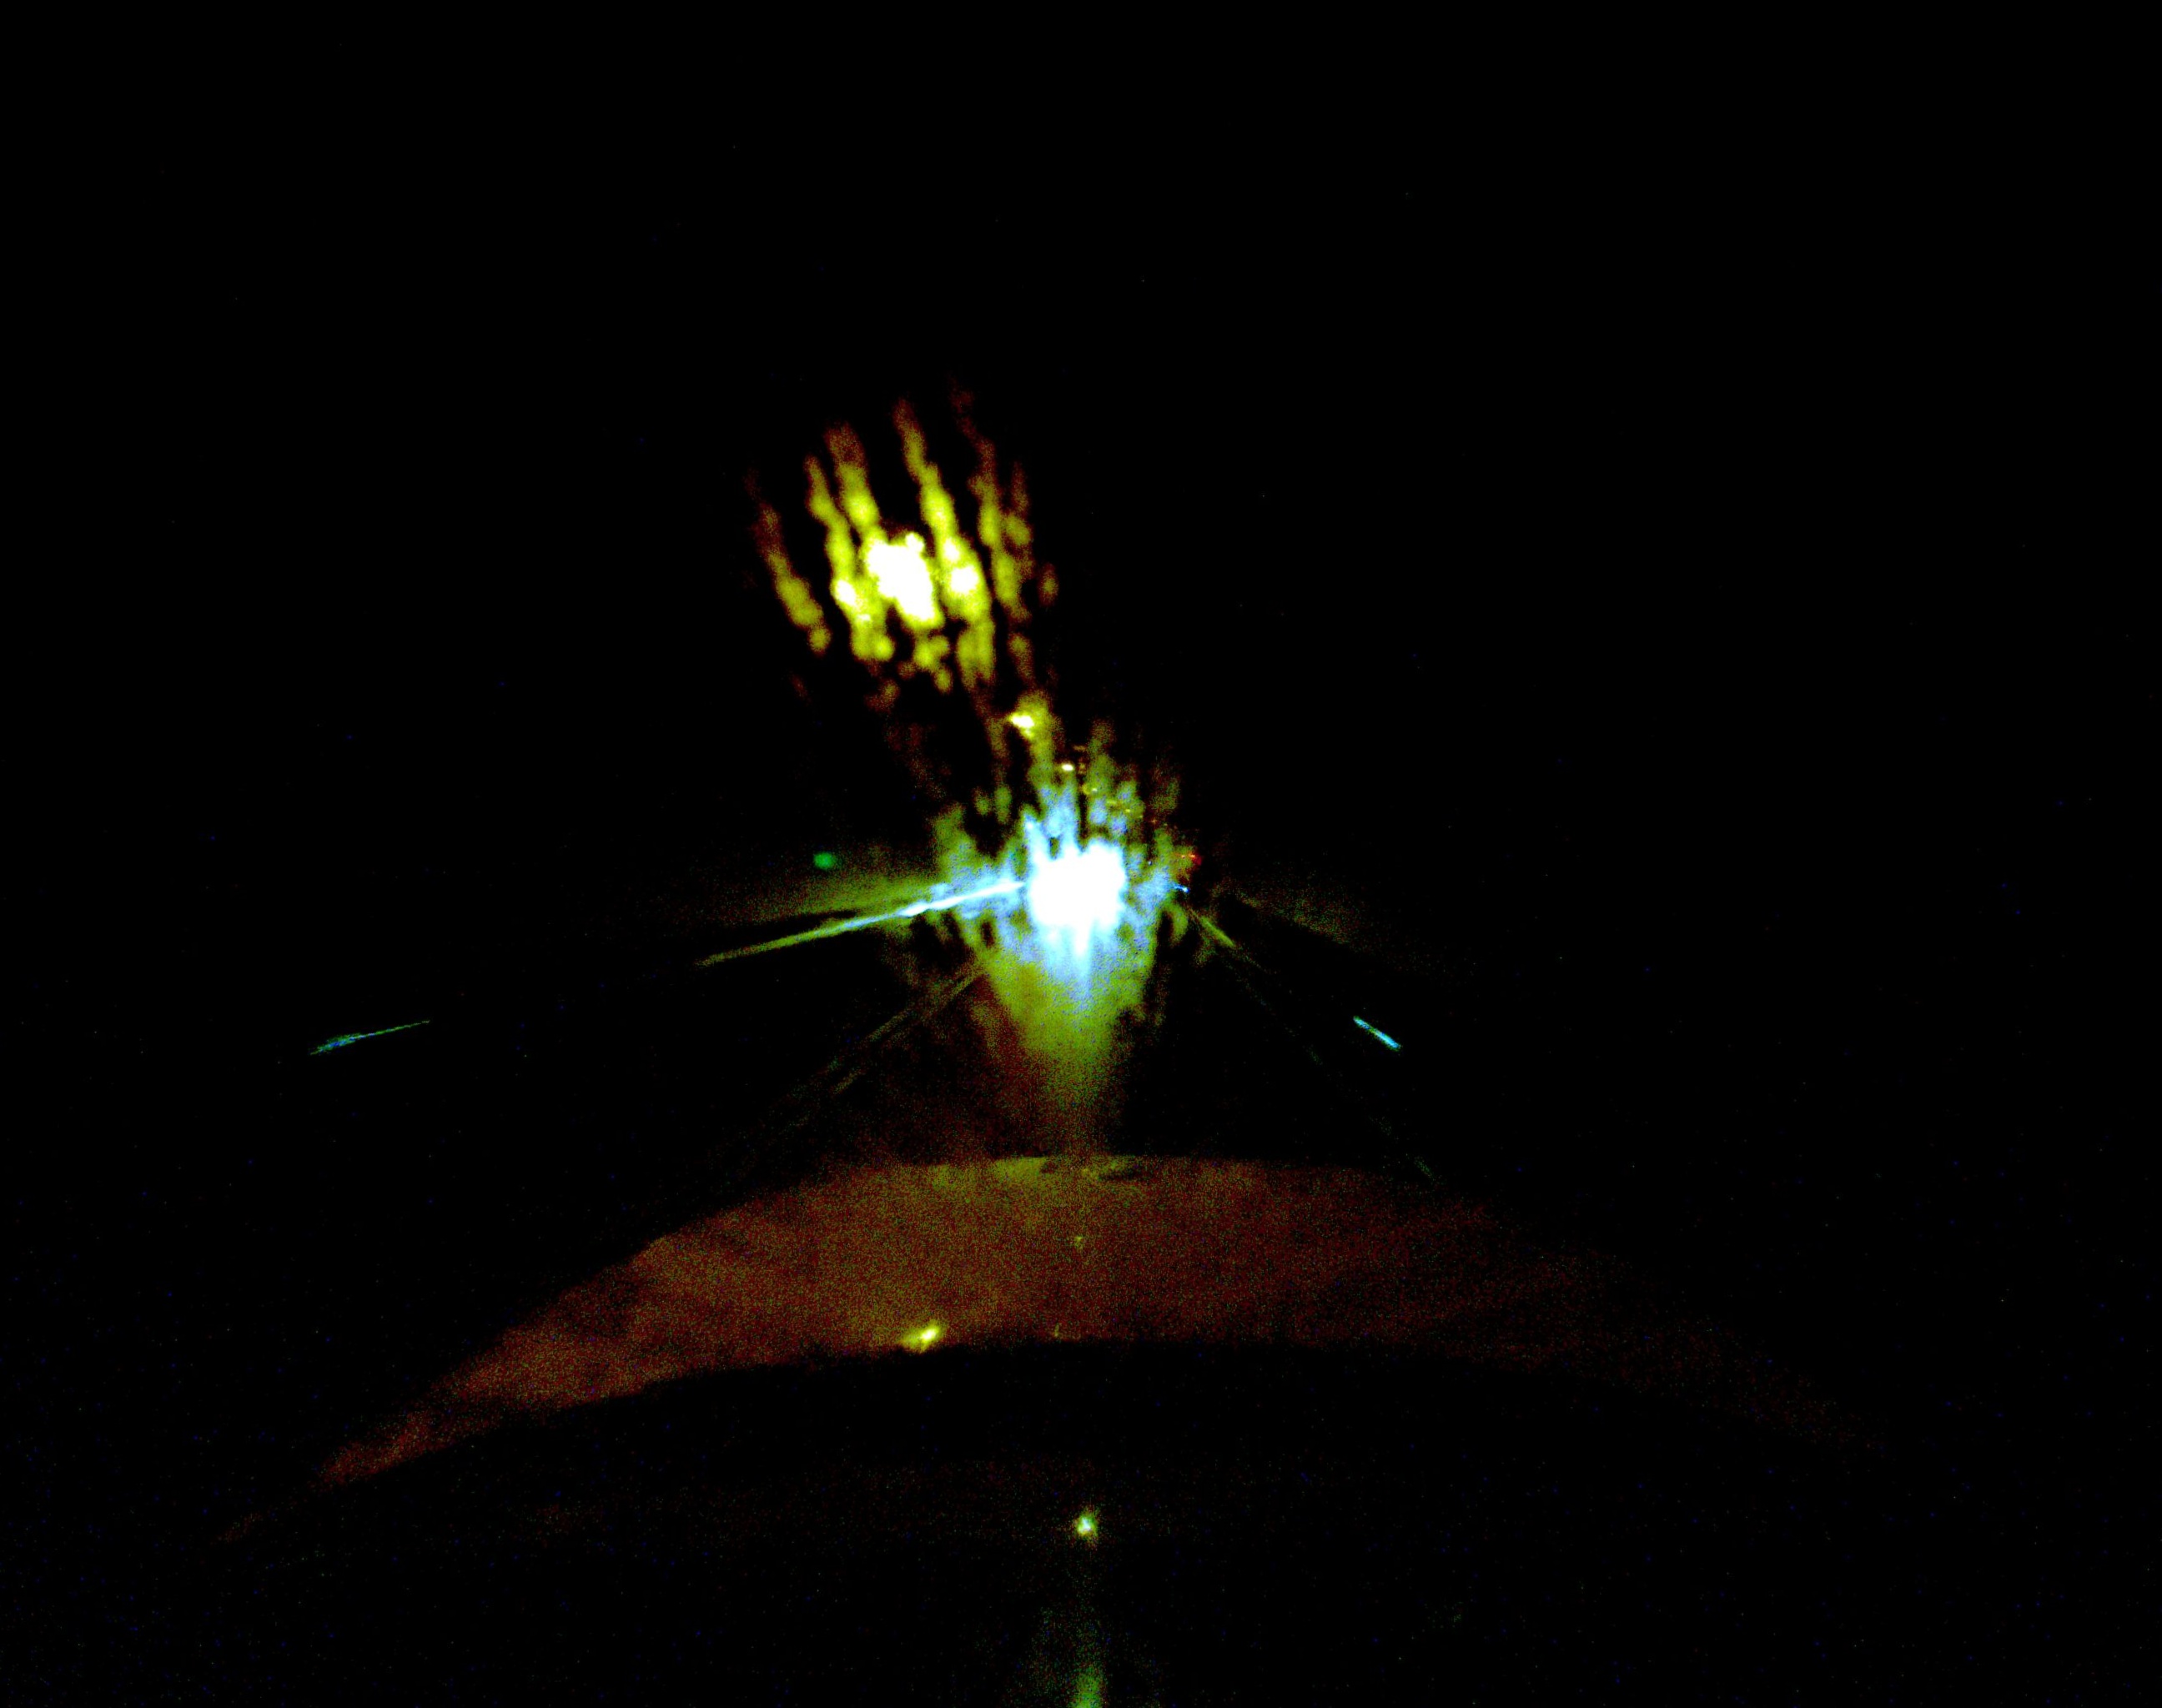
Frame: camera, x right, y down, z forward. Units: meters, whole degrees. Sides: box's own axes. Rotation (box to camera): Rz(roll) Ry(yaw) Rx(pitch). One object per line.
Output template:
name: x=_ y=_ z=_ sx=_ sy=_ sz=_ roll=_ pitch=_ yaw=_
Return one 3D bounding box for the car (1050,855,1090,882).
car: x=-0.543 y=0.746 z=44.045 sx=1.705 sy=1.378 sz=4.591 roll=1 pitch=0 yaw=5

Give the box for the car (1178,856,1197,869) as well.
car: x=13.385 y=1.025 z=101.834 sx=1.980 sy=1.650 sz=4.014 roll=0 pitch=0 yaw=13
